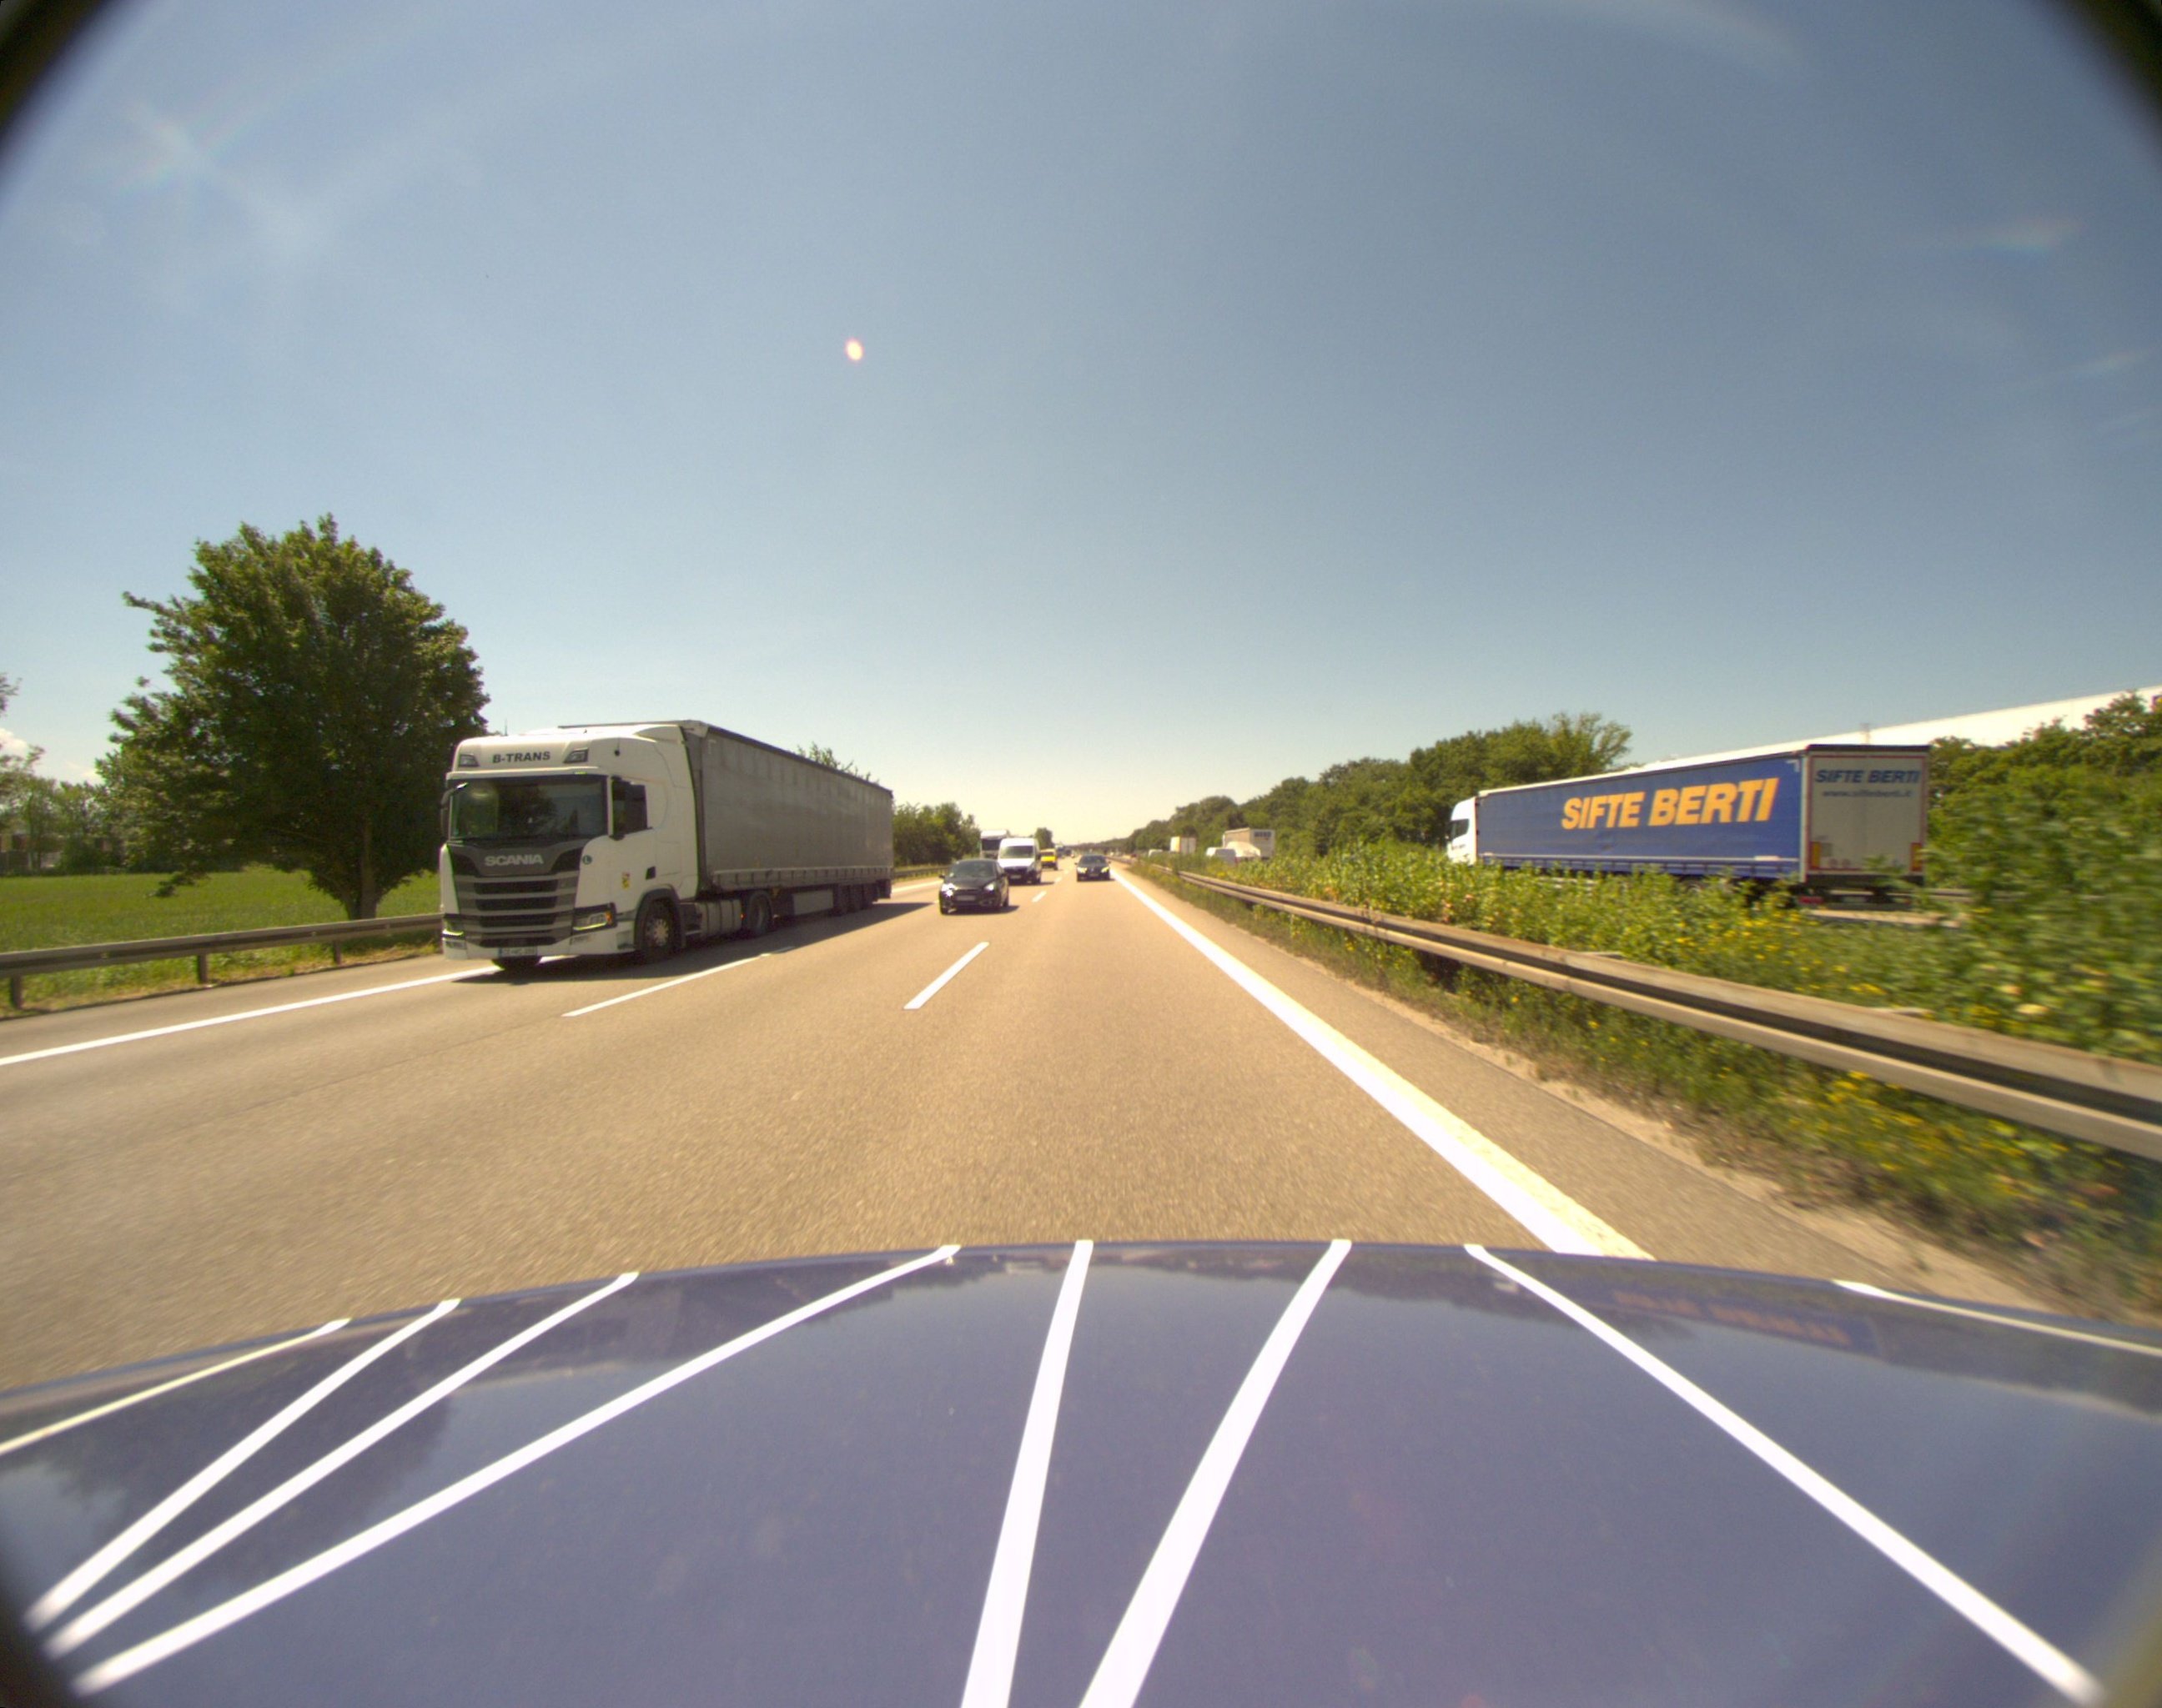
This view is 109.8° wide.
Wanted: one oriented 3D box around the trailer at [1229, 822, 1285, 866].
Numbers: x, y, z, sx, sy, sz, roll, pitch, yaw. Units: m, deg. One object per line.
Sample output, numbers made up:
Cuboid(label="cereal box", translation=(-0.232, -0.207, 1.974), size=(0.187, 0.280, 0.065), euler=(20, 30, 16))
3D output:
Cuboid(label="trailer", translation=(18.135, -1.032, 79.548), size=(2.764, 4.079, 14.052), euler=(1, 1, 1))

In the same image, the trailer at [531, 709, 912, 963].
Cuboid(label="trailer", translation=(-7.786, -0.376, 20.232), size=(2.816, 4.279, 14.254), euler=(-2, 1, 2))

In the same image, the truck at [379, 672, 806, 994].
Cuboid(label="truck", translation=(-7.954, -0.308, 13.942), size=(2.817, 4.279, 7.193), euler=(-2, 1, 2))

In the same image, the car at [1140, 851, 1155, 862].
Cuboid(label="car", translation=(10.987, 0.408, 125.485), size=(1.964, 1.684, 4.801), euler=(-2, 1, -1))

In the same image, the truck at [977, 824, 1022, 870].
Cuboid(label="truck", translation=(-7.437, -0.654, 70.310), size=(2.699, 3.943, 7.704), euler=(-2, 0, 3))

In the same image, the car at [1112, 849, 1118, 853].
Cuboid(label="car", translation=(11.617, -0.961, 261.717), size=(1.724, 1.414, 3.895), euler=(1, 1, -3))

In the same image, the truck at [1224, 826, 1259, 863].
Cuboid(label="truck", translation=(18.265, -1.101, 86.932), size=(2.764, 4.079, 6.151), euler=(1, 1, 1))

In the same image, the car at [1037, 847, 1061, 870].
Cuboid(label="car", translation=(-2.980, 0.392, 71.064), size=(1.958, 1.939, 3.999), euler=(-2, 1, 0))

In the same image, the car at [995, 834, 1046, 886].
Cuboid(label="car", translation=(-3.144, 0.268, 40.763), size=(2.159, 2.494, 5.945), euler=(-2, 1, 0))

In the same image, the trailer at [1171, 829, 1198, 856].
Cuboid(label="trailer", translation=(16.455, -1.734, 121.293), size=(2.746, 4.061, 14.347), euler=(1, 1, 2))

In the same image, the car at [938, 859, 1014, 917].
Cuboid(label="car", translation=(-2.937, 0.917, 21.808), size=(1.692, 1.465, 3.432), euler=(-2, 0, -1))

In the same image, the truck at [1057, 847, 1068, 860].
Cuboid(label="truck", translation=(-5.409, -0.062, 221.390), size=(2.976, 3.626, 7.148), euler=(-2, 1, -2))

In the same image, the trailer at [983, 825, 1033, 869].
Cuboid(label="trailer", translation=(-7.088, -0.697, 76.274), size=(2.699, 3.943, 13.963), euler=(-2, 0, 3))

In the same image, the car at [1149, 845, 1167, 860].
Cuboid(label="car", translation=(10.604, -0.237, 105.029), size=(1.998, 2.019, 5.490), euler=(-2, 1, 0))

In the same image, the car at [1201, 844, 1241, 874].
Cuboid(label="car", translation=(10.415, 0.349, 57.024), size=(1.999, 2.061, 4.712), euler=(-2, 1, -1))

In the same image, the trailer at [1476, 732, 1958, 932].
Cuboid(label="trailer", translation=(16.878, -0.706, 22.802), size=(2.984, 4.188, 13.731), euler=(0, 2, 1))

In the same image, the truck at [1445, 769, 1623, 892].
Cuboid(label="truck", translation=(16.988, -0.925, 29.147), size=(3.013, 4.188, 6.309), euler=(0, 2, 1))

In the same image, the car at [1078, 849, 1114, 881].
Cuboid(label="car", translation=(0.895, 0.575, 42.471), size=(1.689, 1.646, 3.463), euler=(-2, 1, 5))

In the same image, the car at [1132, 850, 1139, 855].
Cuboid(label="car", translation=(16.046, -0.563, 223.293), size=(1.776, 1.409, 4.112), euler=(1, 0, 5))
